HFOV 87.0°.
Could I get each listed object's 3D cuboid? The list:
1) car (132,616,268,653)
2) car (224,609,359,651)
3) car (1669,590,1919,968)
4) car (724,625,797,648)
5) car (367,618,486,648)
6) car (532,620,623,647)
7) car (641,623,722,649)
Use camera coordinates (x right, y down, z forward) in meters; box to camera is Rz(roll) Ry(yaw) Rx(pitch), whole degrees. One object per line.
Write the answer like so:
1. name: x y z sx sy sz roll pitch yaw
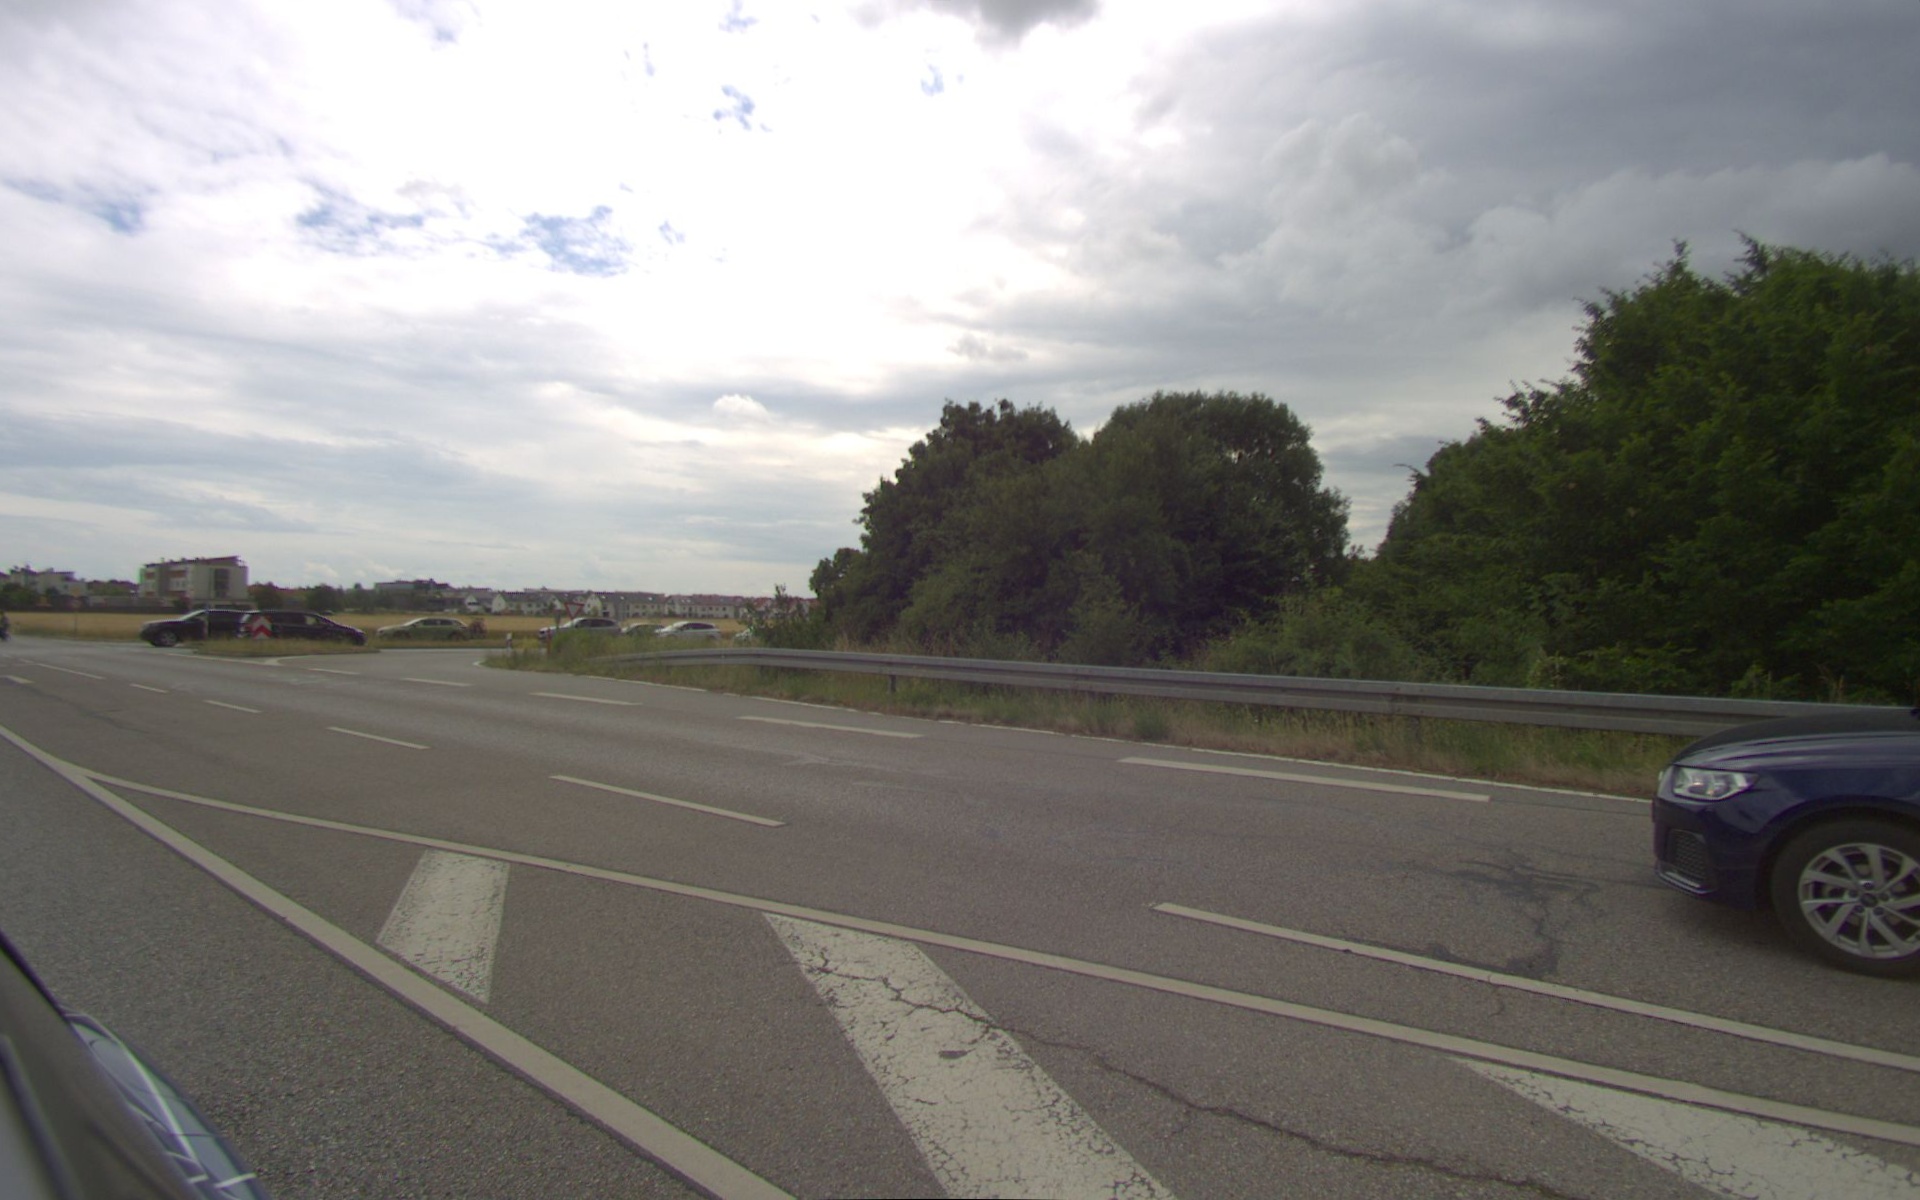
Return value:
1. car: -34.338 1.540 45.820 1.911 1.543 4.687 -1 -2 43
2. car: -27.398 1.216 41.544 4.413 1.623 1.710 1 -2 -42
3. car: 5.070 0.647 3.617 3.997 1.387 1.843 -1 -1 41
4. car: -13.200 2.397 67.053 4.437 1.493 1.913 2 -2 -43
5. car: -27.917 1.714 53.068 5.221 1.532 1.913 2 -2 -43
6. car: -22.037 1.924 58.410 4.568 1.528 1.913 2 -2 -43
7. car: -17.201 2.218 62.679 4.437 1.493 1.913 2 -2 -43
